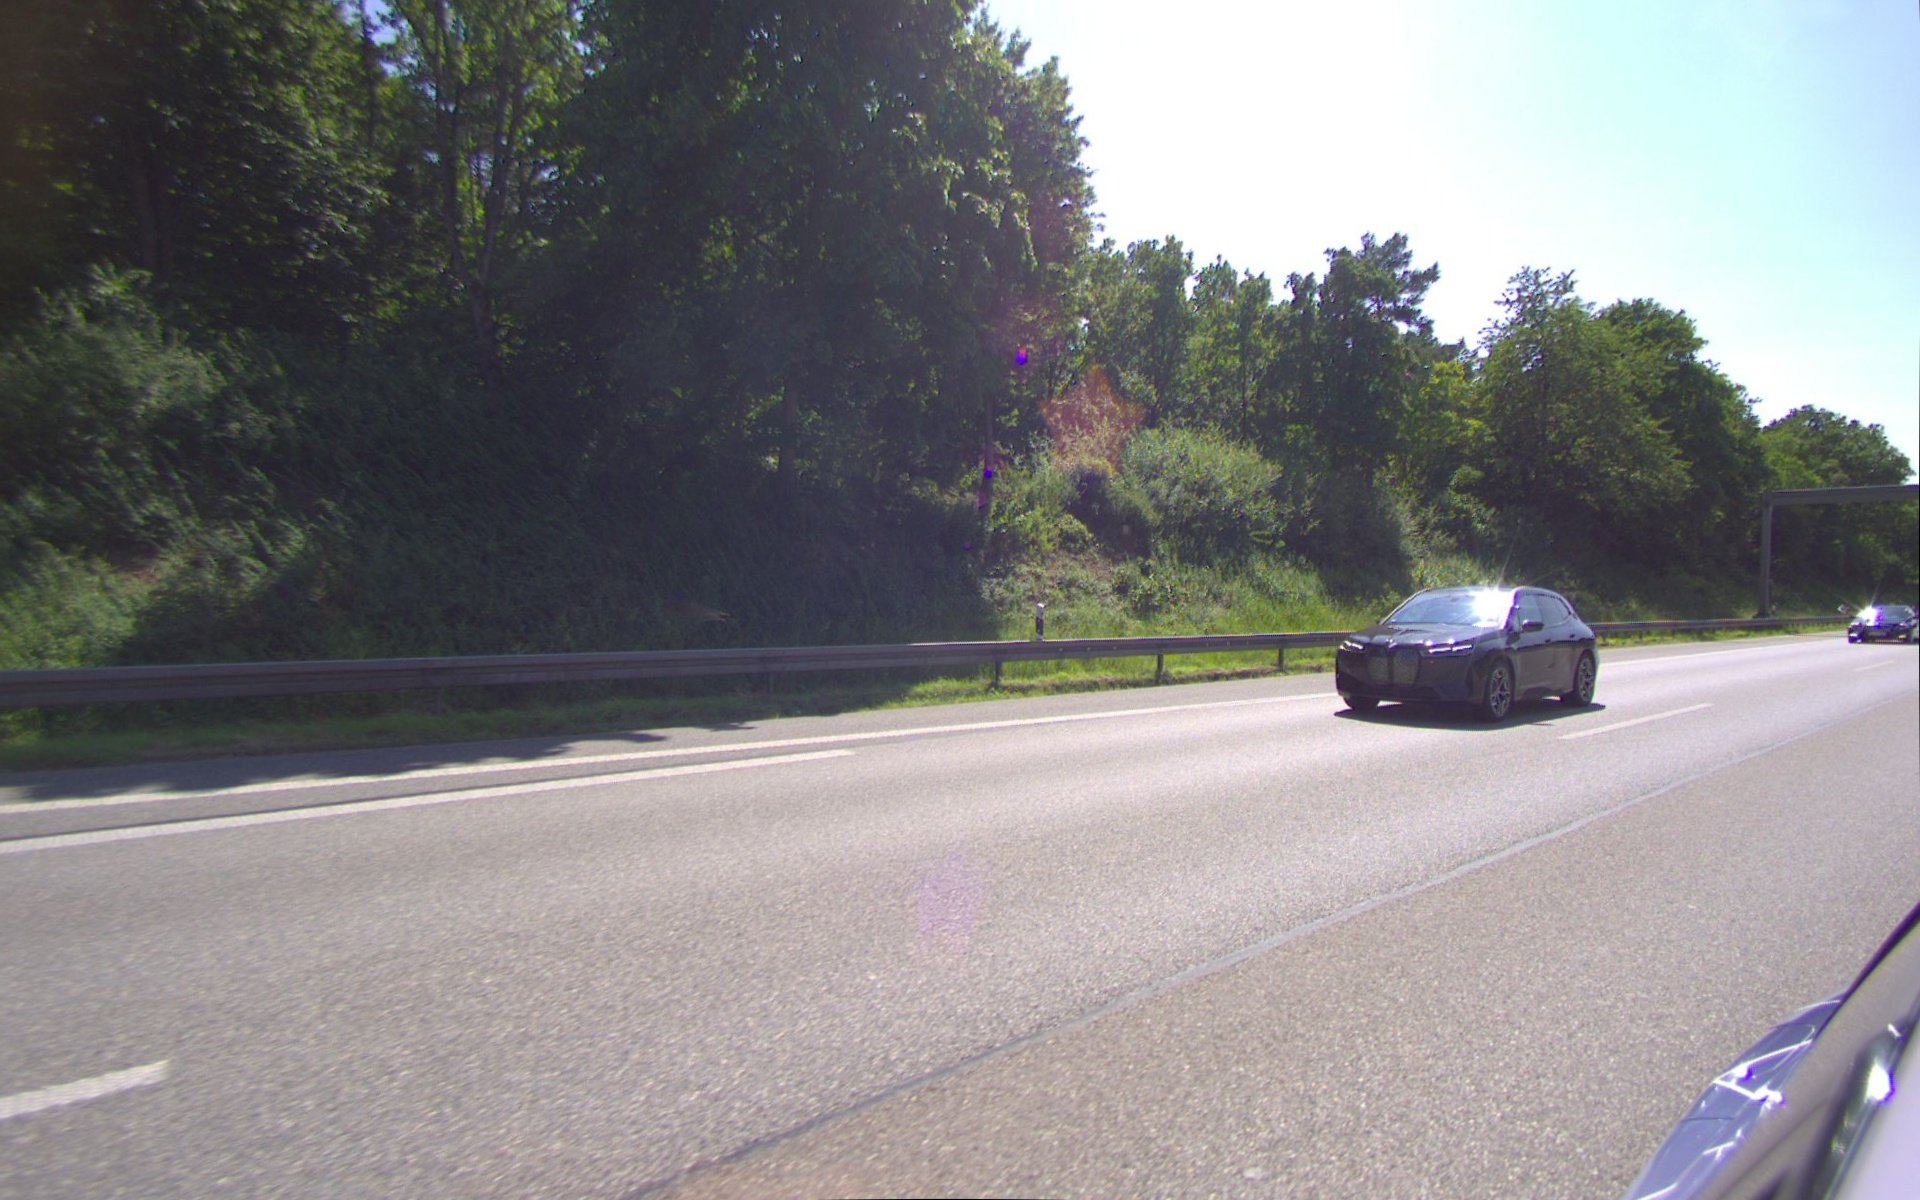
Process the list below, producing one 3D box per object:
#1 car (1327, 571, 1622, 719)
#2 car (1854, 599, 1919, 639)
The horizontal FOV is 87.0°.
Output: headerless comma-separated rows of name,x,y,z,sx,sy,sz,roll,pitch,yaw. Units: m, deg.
car,7.106,0.509,13.778,4.603,1.690,1.924,0,0,-40
car,36.013,0.681,38.937,4.066,1.415,1.915,0,1,-42
